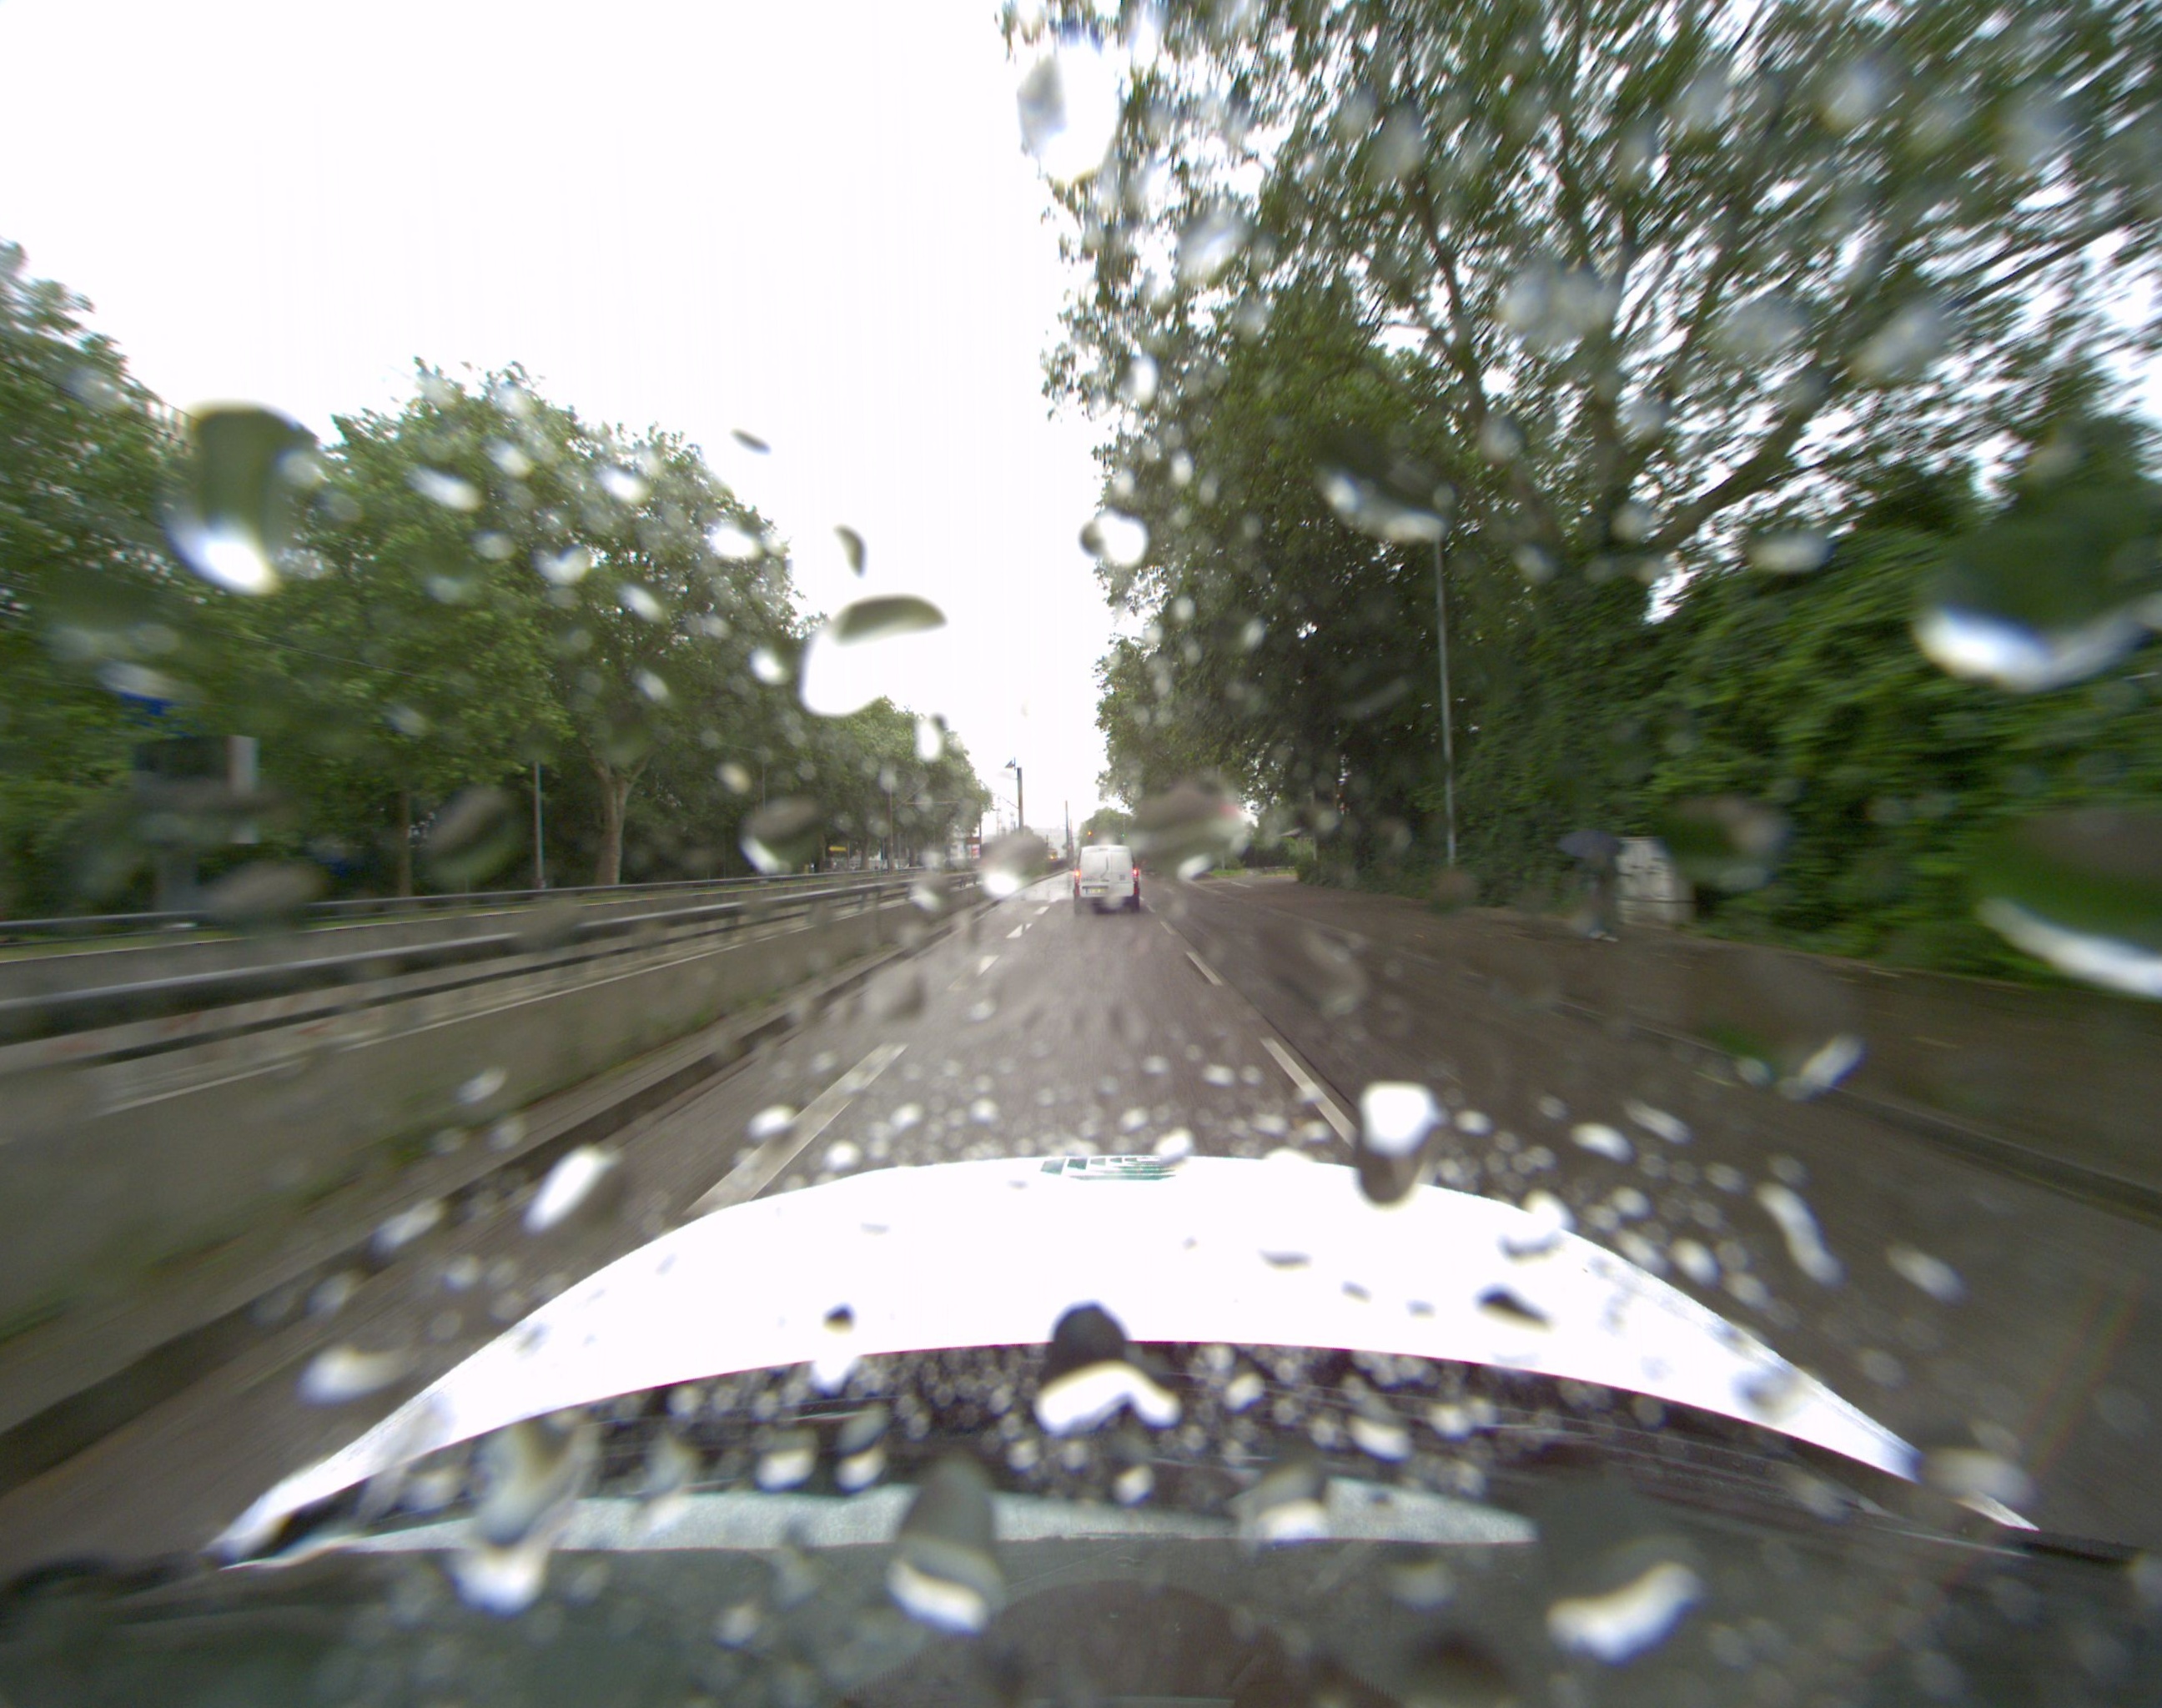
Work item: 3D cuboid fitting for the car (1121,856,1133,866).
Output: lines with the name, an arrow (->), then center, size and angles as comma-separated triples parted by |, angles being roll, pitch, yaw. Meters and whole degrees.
car -> 8.331, 1.276, 147.122 | 1.986, 1.750, 4.001 | 0, 0, 1

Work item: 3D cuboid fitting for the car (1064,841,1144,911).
car -> 0.585, 0.560, 22.877 | 2.018, 1.775, 4.273 | 0, 0, 0

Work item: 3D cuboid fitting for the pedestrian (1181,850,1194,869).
pedestrian -> 8.829, 0.453, 67.577 | 0.943, 1.589, 1.294 | -2, -1, 2

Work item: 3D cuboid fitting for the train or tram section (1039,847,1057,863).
train or tram section -> -8.761, 0.293, 221.270 | 3.758, 4.036, 27.090 | 0, 0, 0

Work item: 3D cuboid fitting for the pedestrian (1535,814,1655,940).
pedestrian -> 7.469, 0.324, 11.907 | 0.963, 1.702, 1.141 | -3, -1, 1

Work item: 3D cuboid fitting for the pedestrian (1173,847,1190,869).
pedestrian -> 8.585, 0.364, 69.559 | 1.235, 1.785, 1.148 | -5, -1, 2

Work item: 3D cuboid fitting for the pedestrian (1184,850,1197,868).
pedestrian -> 8.787, 0.366, 65.657 | 0.888, 1.390, 1.017 | -3, -1, 2

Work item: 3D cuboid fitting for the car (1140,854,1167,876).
car -> 5.842, 0.890, 66.034 | 1.986, 1.750, 4.001 | 0, 0, 2
